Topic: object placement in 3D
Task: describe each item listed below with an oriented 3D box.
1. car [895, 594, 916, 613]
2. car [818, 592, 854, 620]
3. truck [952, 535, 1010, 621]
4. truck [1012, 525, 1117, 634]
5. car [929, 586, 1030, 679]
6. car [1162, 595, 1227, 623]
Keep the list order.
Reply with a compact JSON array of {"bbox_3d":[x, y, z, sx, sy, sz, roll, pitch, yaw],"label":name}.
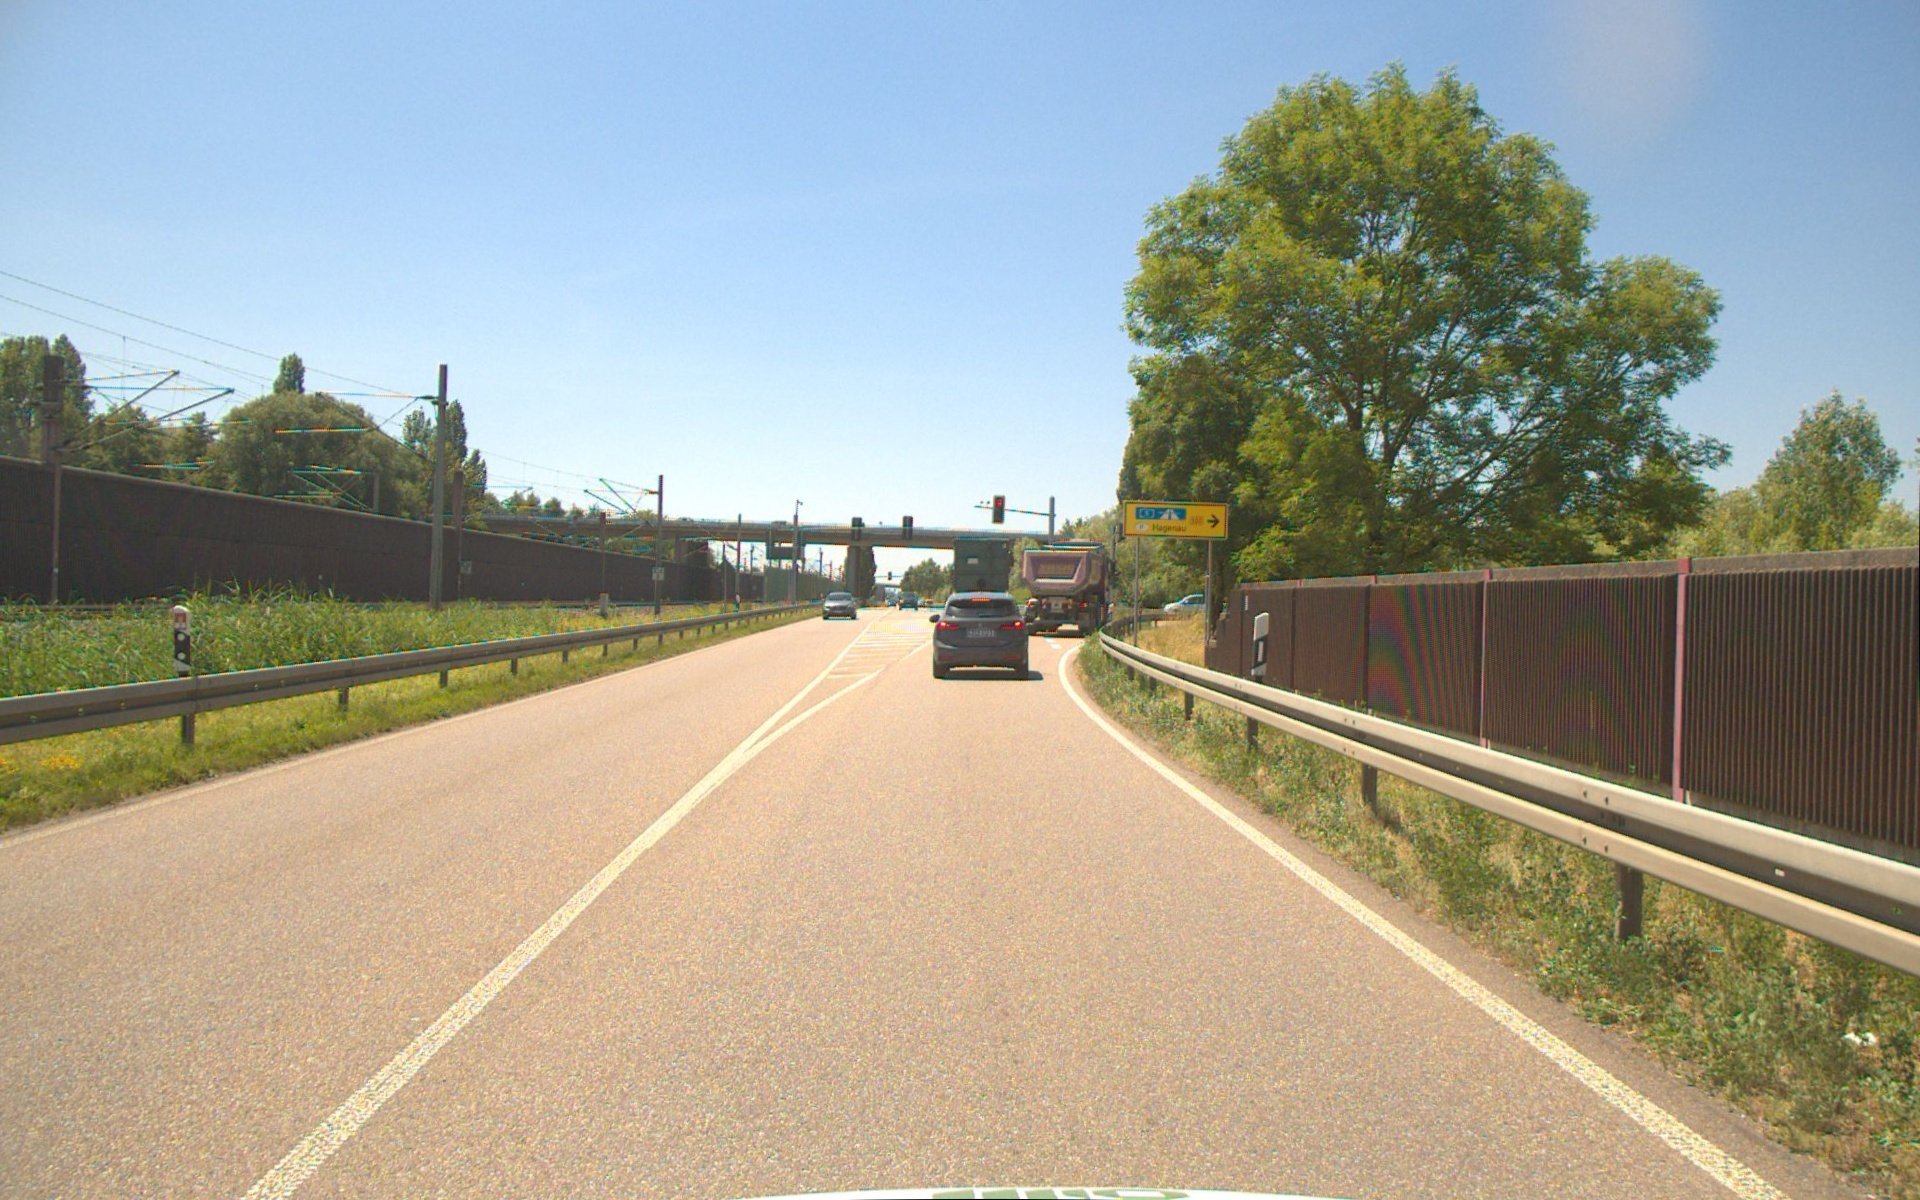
[{"bbox_3d":[-5.434,0.313,166.233,1.888,1.798,4.598,2,1,1],"label":"car"},{"bbox_3d":[-6.792,0.329,91.111,1.827,1.511,4.885,1,0,-3],"label":"car"},{"bbox_3d":[0.924,-1.024,78.689,2.537,3.803,9.574,1,0,0],"label":"truck"},{"bbox_3d":[4.324,-0.746,65.619,2.773,3.888,11.895,1,0,10],"label":"truck"},{"bbox_3d":[0.347,0.587,31.835,1.807,1.651,4.225,1,0,0],"label":"car"},{"bbox_3d":[14.252,0.552,100.613,3.631,1.660,1.734,1,0,-1],"label":"car"}]
